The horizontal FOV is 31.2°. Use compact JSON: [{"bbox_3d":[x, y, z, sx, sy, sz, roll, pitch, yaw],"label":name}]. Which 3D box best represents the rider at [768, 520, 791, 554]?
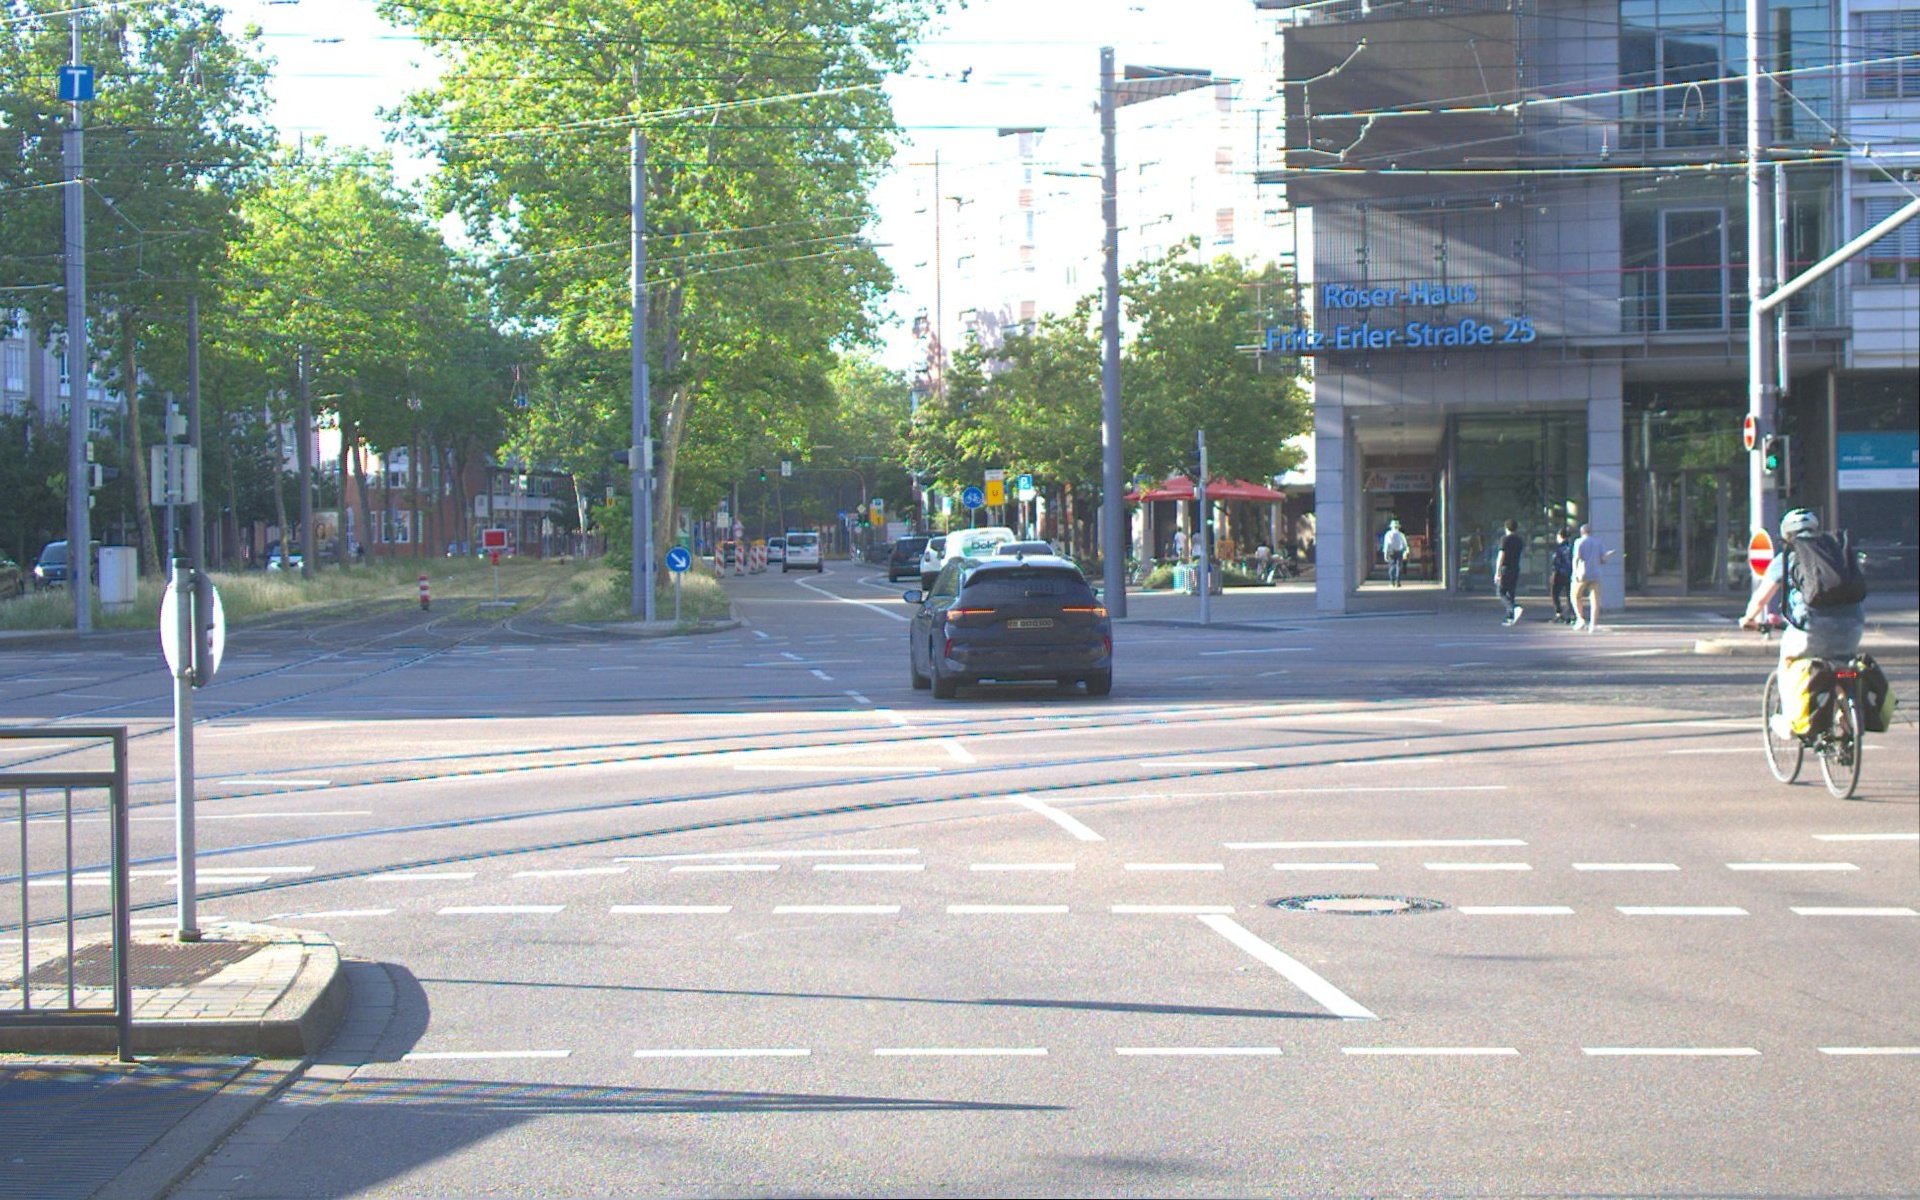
[{"bbox_3d":[-10.809,-3.769,206.010,1.270,2.007,0.956,1,0,-6],"label":"rider"}]

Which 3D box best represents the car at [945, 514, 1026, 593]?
[{"bbox_3d":[0.642,-1.204,89.640,1.993,2.007,4.000,1,1,-1],"label":"car"}]

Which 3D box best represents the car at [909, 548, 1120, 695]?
[{"bbox_3d":[0.493,0.176,35.077,1.763,1.399,4.297,0,1,-4],"label":"car"}]

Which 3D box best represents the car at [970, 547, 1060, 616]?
[{"bbox_3d":[1.292,-0.463,82.788,2.029,1.590,4.000,1,1,-1],"label":"car"}]

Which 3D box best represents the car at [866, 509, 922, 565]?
[{"bbox_3d":[-2.415,-2.298,126.548,1.993,2.007,4.000,1,1,-1],"label":"car"}]

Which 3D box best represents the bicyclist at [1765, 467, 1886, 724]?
[{"bbox_3d":[4.943,-0.030,19.666,0.486,1.434,0.615,1,1,-1],"label":"bicyclist"}]

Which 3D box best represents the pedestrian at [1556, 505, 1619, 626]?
[{"bbox_3d":[10.584,-0.585,58.010,0.869,2.007,0.794,1,0,-1],"label":"pedestrian"}]

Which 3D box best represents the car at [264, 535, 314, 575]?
[{"bbox_3d":[-27.551,-1.848,141.321,1.676,1.601,4.001,1,1,-6],"label":"car"}]

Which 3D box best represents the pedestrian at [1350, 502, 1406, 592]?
[{"bbox_3d":[10.268,-1.300,84.505,1.313,2.182,1.170,1,0,6],"label":"pedestrian"}]

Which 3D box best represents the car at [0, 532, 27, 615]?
[{"bbox_3d":[-21.630,-0.580,75.056,1.822,1.784,4.001,-1,1,-7],"label":"car"}]

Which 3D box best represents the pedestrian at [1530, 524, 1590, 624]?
[{"bbox_3d":[10.415,-0.452,59.682,0.869,1.702,0.794,1,0,-1],"label":"pedestrian"}]

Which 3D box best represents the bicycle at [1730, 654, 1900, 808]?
[{"bbox_3d":[4.931,0.739,19.922,0.490,0.785,1.862,0,1,-1],"label":"bicycle"}]

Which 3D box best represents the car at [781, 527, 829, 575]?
[{"bbox_3d":[-7.184,-2.267,160.077,1.993,2.007,3.999,1,-2,1],"label":"car"}]

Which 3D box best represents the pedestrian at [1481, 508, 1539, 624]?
[{"bbox_3d":[9.553,-0.591,59.693,0.849,2.007,0.708,1,0,-1],"label":"pedestrian"}]
